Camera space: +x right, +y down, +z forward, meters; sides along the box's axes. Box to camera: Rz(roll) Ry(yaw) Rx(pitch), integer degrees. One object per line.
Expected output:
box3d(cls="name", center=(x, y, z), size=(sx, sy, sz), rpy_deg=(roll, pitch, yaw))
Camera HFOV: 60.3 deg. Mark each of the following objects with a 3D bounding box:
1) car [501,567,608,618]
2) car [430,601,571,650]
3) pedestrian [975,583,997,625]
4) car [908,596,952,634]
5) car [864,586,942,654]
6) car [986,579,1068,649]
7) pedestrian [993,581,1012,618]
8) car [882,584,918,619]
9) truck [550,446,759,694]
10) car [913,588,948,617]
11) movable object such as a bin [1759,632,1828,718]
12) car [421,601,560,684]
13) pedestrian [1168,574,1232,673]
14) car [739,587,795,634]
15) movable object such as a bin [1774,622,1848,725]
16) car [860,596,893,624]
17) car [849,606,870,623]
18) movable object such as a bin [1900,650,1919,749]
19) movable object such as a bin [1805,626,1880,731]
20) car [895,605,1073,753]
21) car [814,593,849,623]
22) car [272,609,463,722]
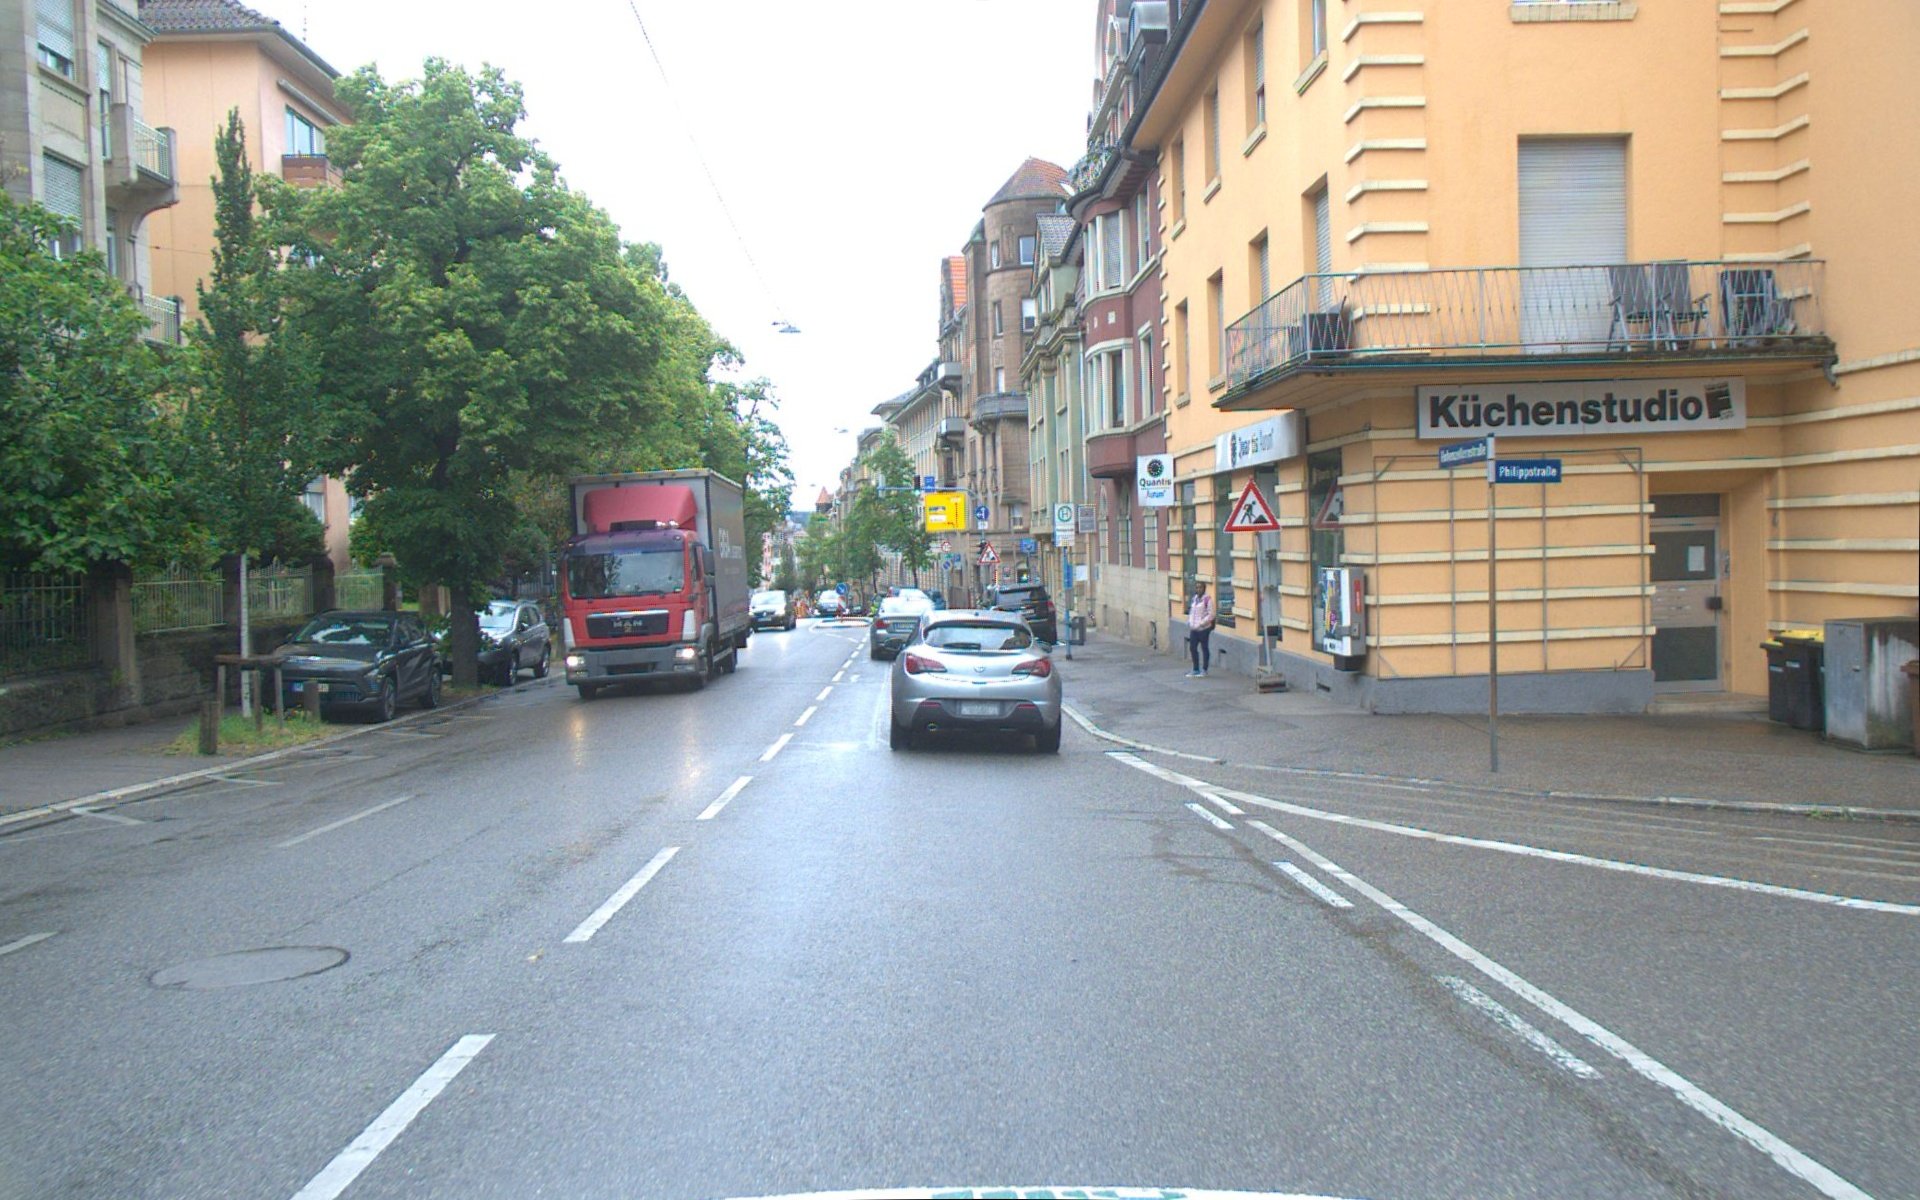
box3d(cls="car", center=(-19.737, -0.382, 80.583), size=(4.564, 2.083, 2.027), rpy_deg=(4, 2, 13))
box3d(cls="car", center=(-14.392, 0.790, 51.989), size=(3.908, 1.349, 1.836), rpy_deg=(-2, 1, -3))
box3d(cls="pedestrian", center=(1.174, 0.187, 74.477), size=(0.703, 1.805, 0.666), rpy_deg=(-3, 1, 16))
box3d(cls="car", center=(-1.247, 0.620, 68.558), size=(1.736, 1.531, 3.868), rpy_deg=(0, -1, -1))
box3d(cls="car", center=(-1.326, 0.467, 39.136), size=(1.736, 1.531, 3.868), rpy_deg=(0, -1, -1))
box3d(cls="car", center=(1.748, 0.384, 44.640), size=(1.839, 1.658, 4.696), rpy_deg=(-4, 0, -1))
box3d(cls="pedestrian", center=(1.912, -0.019, 74.569), size=(0.584, 1.612, 0.666), rpy_deg=(-3, 1, 17))
box3d(cls="car", center=(-2.990, 0.092, 82.456), size=(1.624, 1.570, 3.662), rpy_deg=(-4, -1, -4))
box3d(cls="truck", center=(-5.576, -0.491, 31.818), size=(2.596, 3.921, 9.300), rpy_deg=(-3, 0, -3))
box3d(cls="car", center=(-1.796, 0.191, 99.724), size=(1.626, 1.570, 3.658), rpy_deg=(-4, -1, -8))
box3d(cls="movable object such as a bin", center=(9.510, 0.853, 18.883), size=(0.494, 0.935, 0.513), rpy_deg=(1, 2, -2))
box3d(cls="car", center=(-9.553, 0.841, 33.974), size=(1.706, 1.586, 4.301), rpy_deg=(0, -1, -1))
box3d(cls="pedestrian", center=(4.013, 0.394, 27.698), size=(0.755, 1.617, 0.708), rpy_deg=(-2, -1, -21))
box3d(cls="car", center=(-7.347, 0.377, 63.324), size=(1.736, 1.543, 4.589), rpy_deg=(-2, 2, -2))
box3d(cls="movable object such as a bin", center=(9.415, 0.811, 18.304), size=(0.494, 1.074, 0.513), rpy_deg=(1, 4, -2))
box3d(cls="car", center=(-5.169, 0.614, 102.560), size=(1.626, 1.570, 3.658), rpy_deg=(-4, -1, -8))
box3d(cls="car", center=(-9.348, 1.347, 153.617), size=(1.607, 1.454, 3.369), rpy_deg=(-2, -1, -9))
box3d(cls="movable object such as a bin", center=(9.604, 0.972, 16.179), size=(0.494, 0.946, 0.513), rpy_deg=(-3, 2, -1))
box3d(cls="movable object such as a bin", center=(9.407, 0.830, 17.636), size=(0.494, 1.059, 0.513), rpy_deg=(-3, 2, -1))
box3d(cls="car", center=(0.227, 0.812, 18.549), size=(1.774, 1.475, 3.868), rpy_deg=(0, -1, -1))
box3d(cls="car", center=(-6.747, 0.400, 87.084), size=(1.779, 1.544, 4.544), rpy_deg=(0, 0, -4))
box3d(cls="car", center=(-9.186, 0.966, 26.014), size=(1.707, 1.586, 4.298), rpy_deg=(1, -1, -4))
